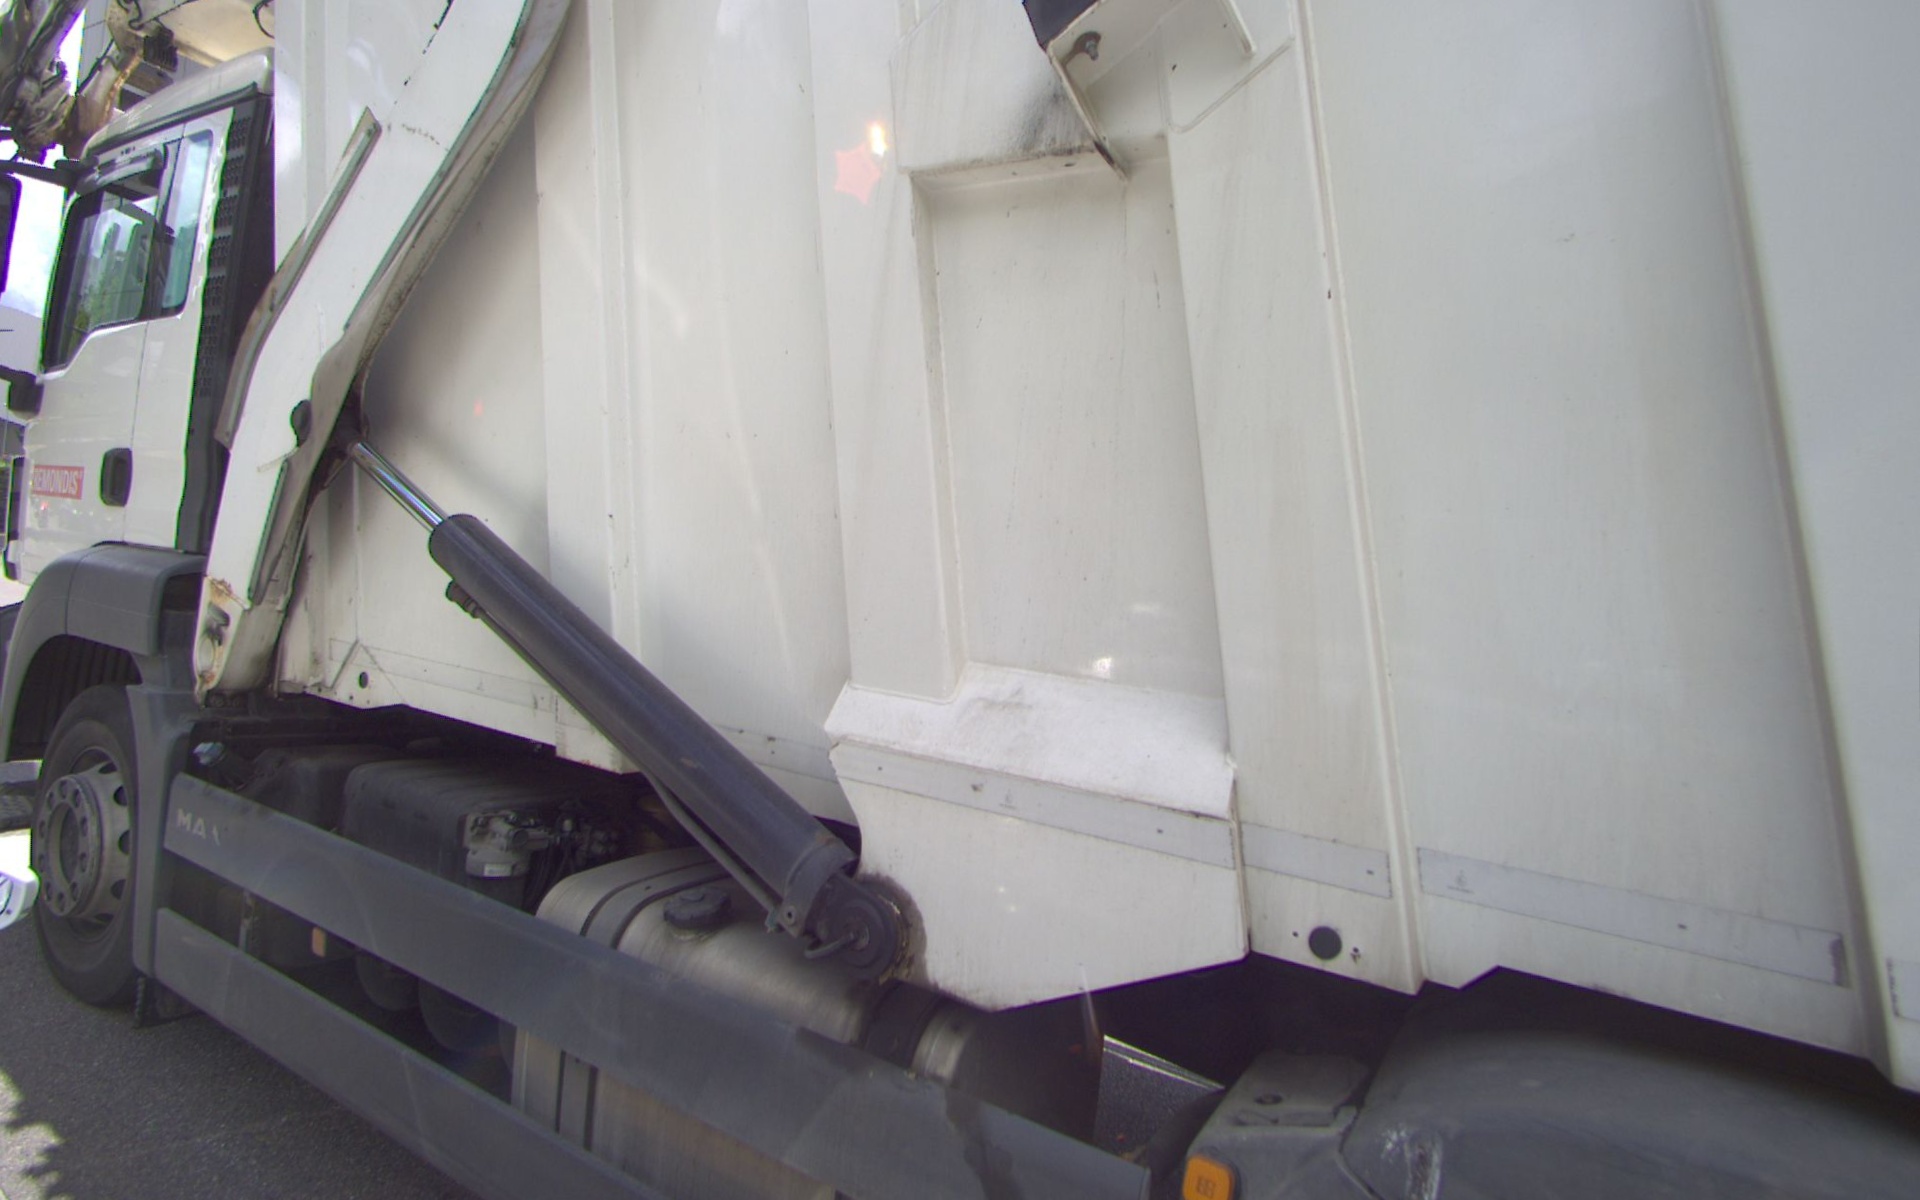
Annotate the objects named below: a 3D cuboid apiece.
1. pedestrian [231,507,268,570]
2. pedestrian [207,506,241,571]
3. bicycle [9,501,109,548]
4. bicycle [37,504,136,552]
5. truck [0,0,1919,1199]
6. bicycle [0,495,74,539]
[{"bbox_3d":[-21.714,-1.873,30.746,0.702,1.818,0.689,5,3,-24],"label":"pedestrian"},{"bbox_3d":[-21.645,-1.809,29.586,0.705,1.818,0.636,4,3,-36],"label":"pedestrian"},{"bbox_3d":[-27.980,-2.334,31.276,2.197,1.099,0.474,8,-1,-23],"label":"bicycle"},{"bbox_3d":[-27.007,-2.210,31.143,2.166,1.099,0.474,8,-1,-23],"label":"bicycle"},{"bbox_3d":[1.085,-0.260,2.181,10.003,3.958,2.494,6,-1,31],"label":"truck"},{"bbox_3d":[-29.282,-2.638,31.480,2.197,1.099,0.474,8,-1,-23],"label":"bicycle"}]
